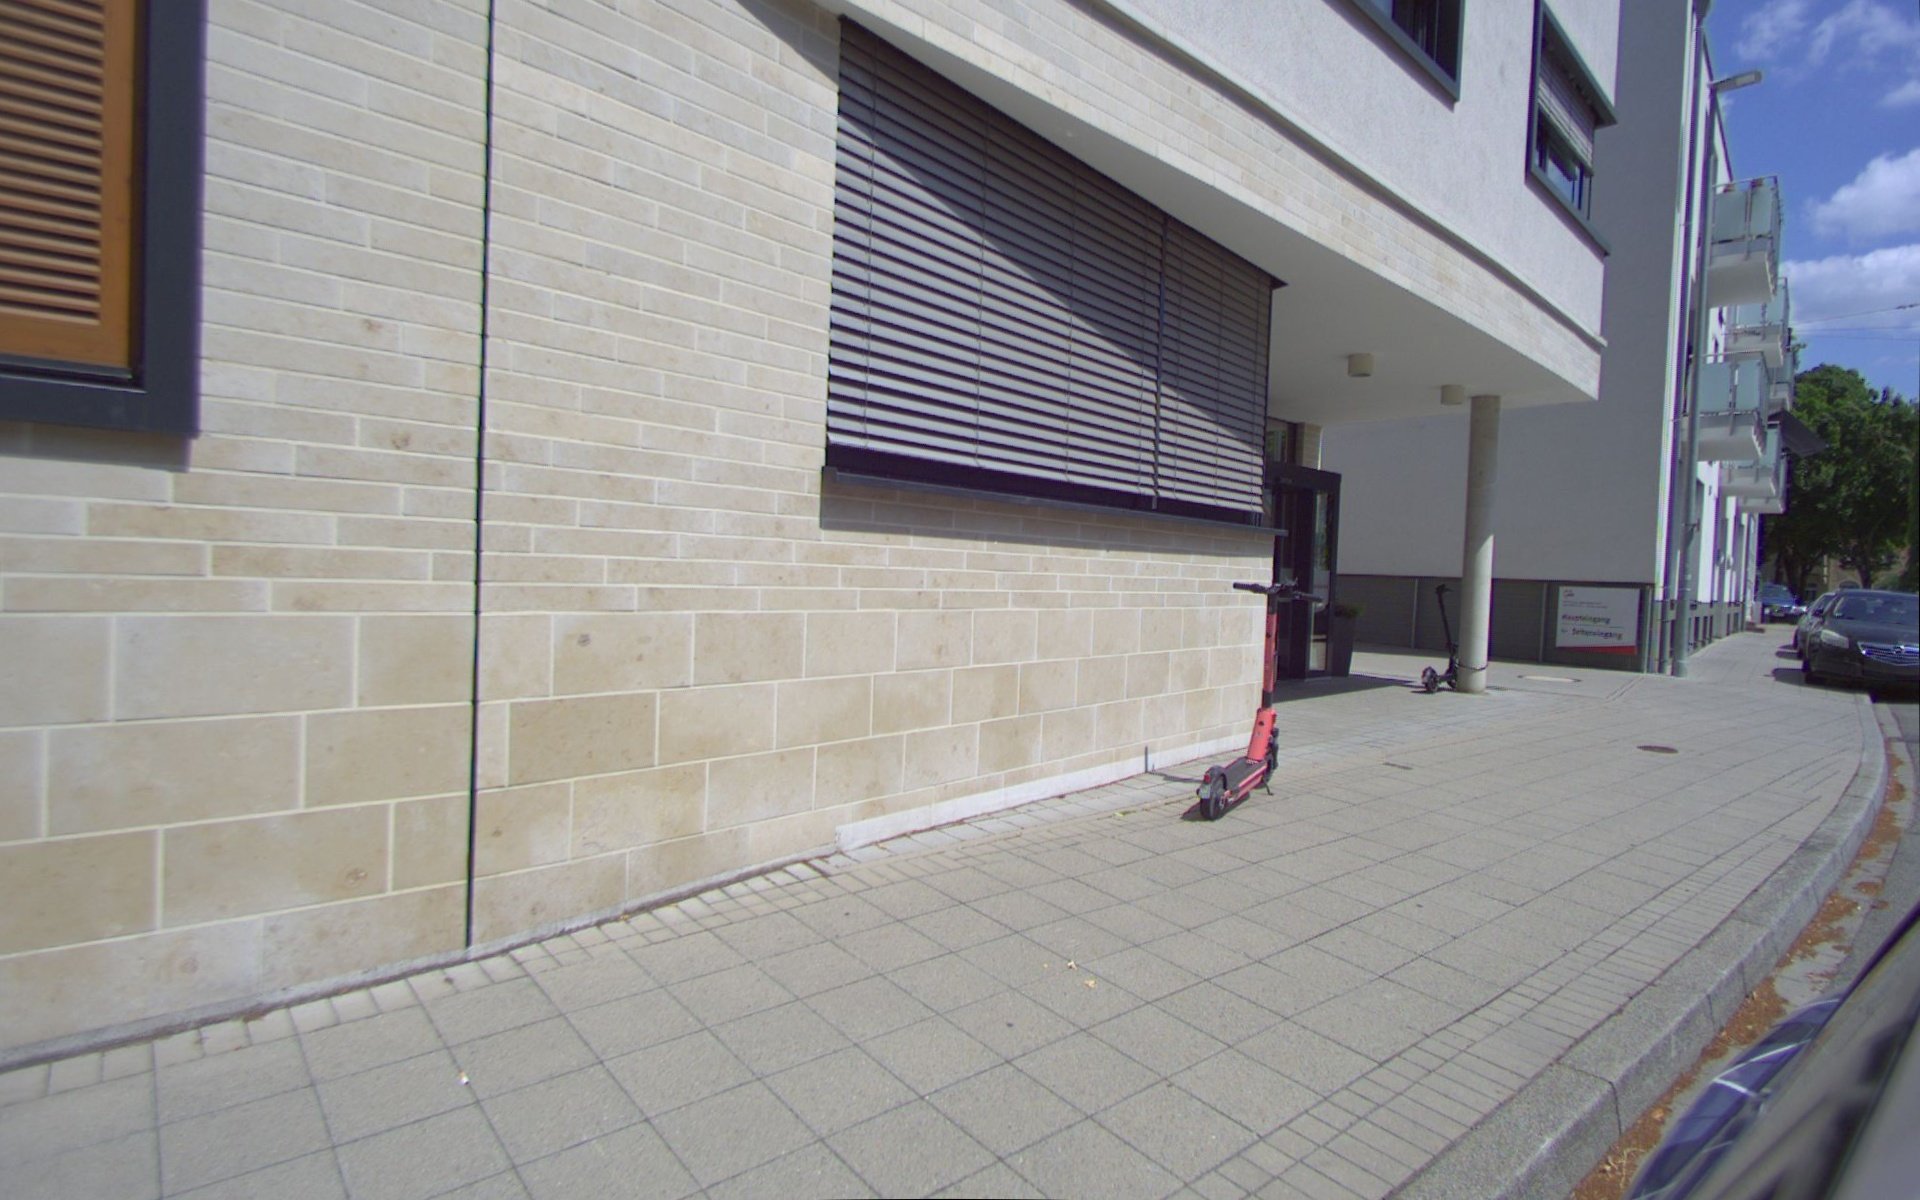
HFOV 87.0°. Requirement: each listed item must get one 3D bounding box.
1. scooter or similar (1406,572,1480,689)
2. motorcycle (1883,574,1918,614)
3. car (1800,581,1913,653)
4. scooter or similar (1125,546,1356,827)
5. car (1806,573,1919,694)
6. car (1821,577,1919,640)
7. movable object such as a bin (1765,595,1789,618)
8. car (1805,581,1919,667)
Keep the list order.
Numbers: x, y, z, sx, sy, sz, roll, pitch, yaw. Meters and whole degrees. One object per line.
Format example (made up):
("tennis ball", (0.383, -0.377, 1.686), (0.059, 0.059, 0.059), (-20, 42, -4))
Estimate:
("scooter or similar", (5.452, 0.316, 11.396), (0.421, 1.226, 1.296), (3, 2, 39))
("motorcycle", (33.137, -0.211, 35.651), (0.800, 1.369, 2.300), (3, 2, 45))
("car", (21.814, 0.356, 24.567), (1.729, 1.449, 3.978), (9, 6, 44))
("scooter or similar", (1.522, 0.386, 5.374), (0.581, 1.275, 1.347), (6, 4, 41))
("car", (14.250, 0.437, 15.456), (1.798, 1.527, 4.484), (8, 6, 38))
("car", (27.060, 0.205, 30.053), (3.736, 1.630, 1.730), (-1, 5, -42))
("movable object such as a bin", (36.011, 0.295, 44.600), (0.622, 0.973, 0.618), (1, 2, -32))
("car", (18.560, 0.412, 20.855), (1.592, 1.449, 3.653), (8, 6, 40))
